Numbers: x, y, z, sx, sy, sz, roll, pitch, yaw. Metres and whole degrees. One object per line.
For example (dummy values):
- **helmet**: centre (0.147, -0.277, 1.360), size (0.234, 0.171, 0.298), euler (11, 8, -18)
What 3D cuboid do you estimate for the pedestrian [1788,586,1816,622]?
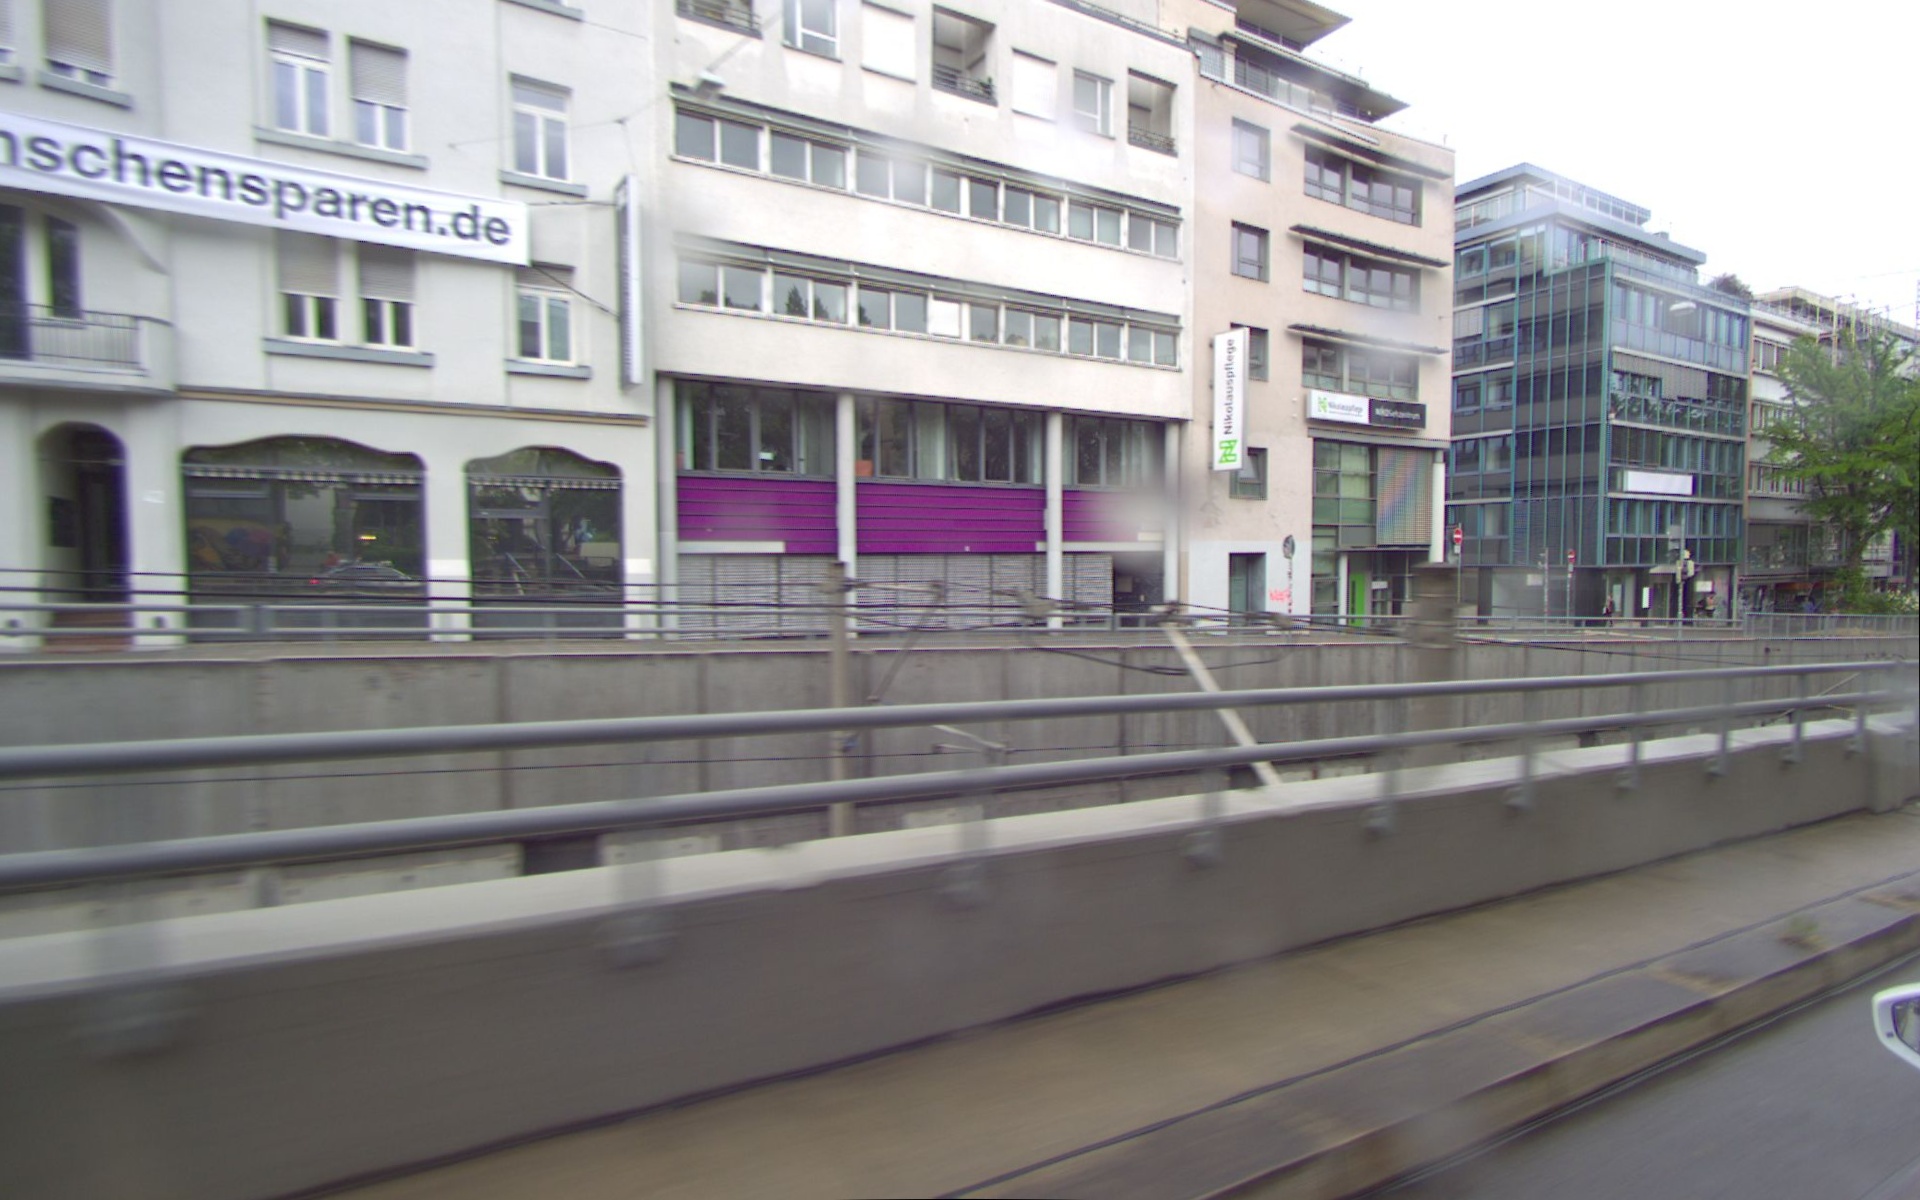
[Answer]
- **pedestrian**: centre (45.010, 0.212, 53.690), size (0.857, 1.893, 0.871), euler (0, 3, -33)

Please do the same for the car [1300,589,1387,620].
- **car**: centre (19.473, 0.216, 51.129), size (1.789, 1.445, 3.866), euler (1, 1, -29)

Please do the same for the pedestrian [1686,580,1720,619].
- **pedestrian**: centre (36.924, -0.033, 49.904), size (0.943, 1.893, 0.864), euler (1, 2, -12)
